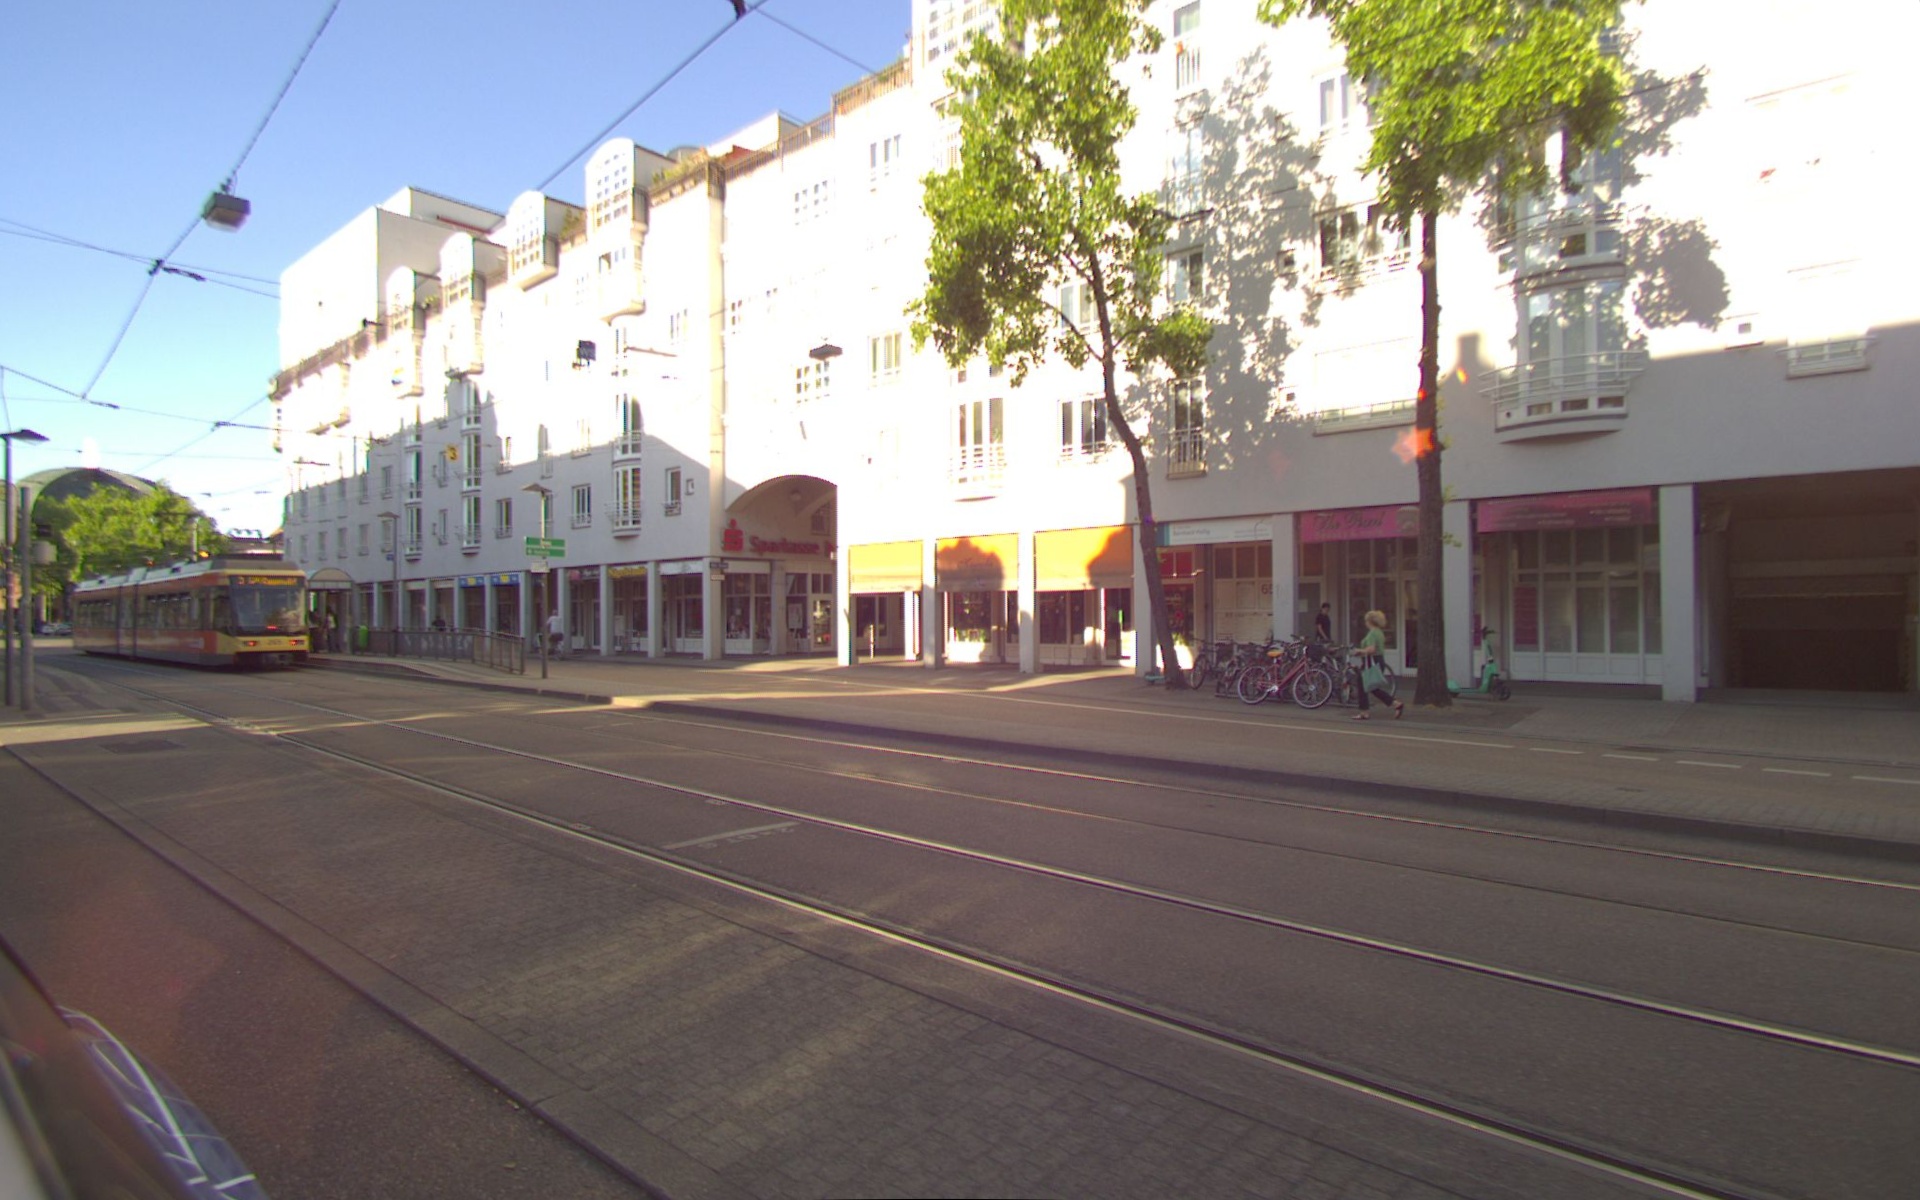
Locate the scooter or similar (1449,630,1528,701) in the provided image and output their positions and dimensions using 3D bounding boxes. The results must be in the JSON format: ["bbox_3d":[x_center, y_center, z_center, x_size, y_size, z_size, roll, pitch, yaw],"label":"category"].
[{"bbox_3d":[8.737,1.066,16.772,0.330,1.120,1.184,0,-1,-25],"label":"scooter or similar"}]

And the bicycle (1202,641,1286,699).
[{"bbox_3d":[5.172,1.249,18.369,1.821,0.919,0.390,-2,0,-36],"label":"bicycle"}]

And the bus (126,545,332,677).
[{"bbox_3d":[-24.387,0.430,33.268,13.676,3.595,2.781,-1,-1,43],"label":"bus"}]

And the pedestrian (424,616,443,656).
[{"bbox_3d":[-22.850,1.564,43.952,0.706,1.729,0.526,-2,-2,43],"label":"pedestrian"}]

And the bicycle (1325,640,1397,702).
[{"bbox_3d":[6.801,1.174,17.116,1.823,0.919,0.390,-2,0,-44],"label":"bicycle"}]

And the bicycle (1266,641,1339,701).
[{"bbox_3d":[6.056,1.229,17.837,1.823,0.919,0.390,-2,0,-44],"label":"bicycle"}]

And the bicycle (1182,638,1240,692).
[{"bbox_3d":[4.887,1.238,19.628,0.418,0.919,1.755,-1,0,37],"label":"bicycle"}]

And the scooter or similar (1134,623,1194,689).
[{"bbox_3d":[4.138,1.122,20.568,0.372,1.288,1.182,-3,1,-37],"label":"scooter or similar"}]

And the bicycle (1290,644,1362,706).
[{"bbox_3d":[6.362,1.279,17.542,1.823,0.919,0.390,-2,0,-44],"label":"bicycle"}]

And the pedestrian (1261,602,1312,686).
[{"bbox_3d":[6.906,0.911,21.411,0.825,1.729,0.623,-2,-2,43],"label":"pedestrian"}]

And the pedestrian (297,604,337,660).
[{"bbox_3d":[-21.648,1.061,34.071,0.977,1.847,0.906,-2,-2,43],"label":"pedestrian"}]

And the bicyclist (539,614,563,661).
[{"bbox_3d":[-15.495,1.415,38.309,0.807,1.713,0.508,-1,0,42],"label":"bicyclist"}]

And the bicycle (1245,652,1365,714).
[{"bbox_3d":[5.633,1.335,16.609,1.851,0.919,0.384,-1,0,43],"label":"bicycle"}]

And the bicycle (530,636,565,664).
[{"bbox_3d":[-15.692,1.884,38.503,1.726,0.996,0.511,-1,0,42],"label":"bicycle"}]

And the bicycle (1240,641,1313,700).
[{"bbox_3d":[5.682,1.244,18.126,1.823,0.919,0.390,-2,0,-44],"label":"bicycle"}]

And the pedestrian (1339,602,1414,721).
[{"bbox_3d":[6.221,0.898,15.140,0.621,1.729,0.828,0,-1,-21],"label":"pedestrian"}]

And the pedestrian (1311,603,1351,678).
[{"bbox_3d":[8.031,0.868,21.886,0.632,1.588,0.553,-2,-2,43],"label":"pedestrian"}]

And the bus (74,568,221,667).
[{"bbox_3d":[-34.304,0.770,42.397,13.676,3.595,2.781,-1,-1,43],"label":"bus"}]
